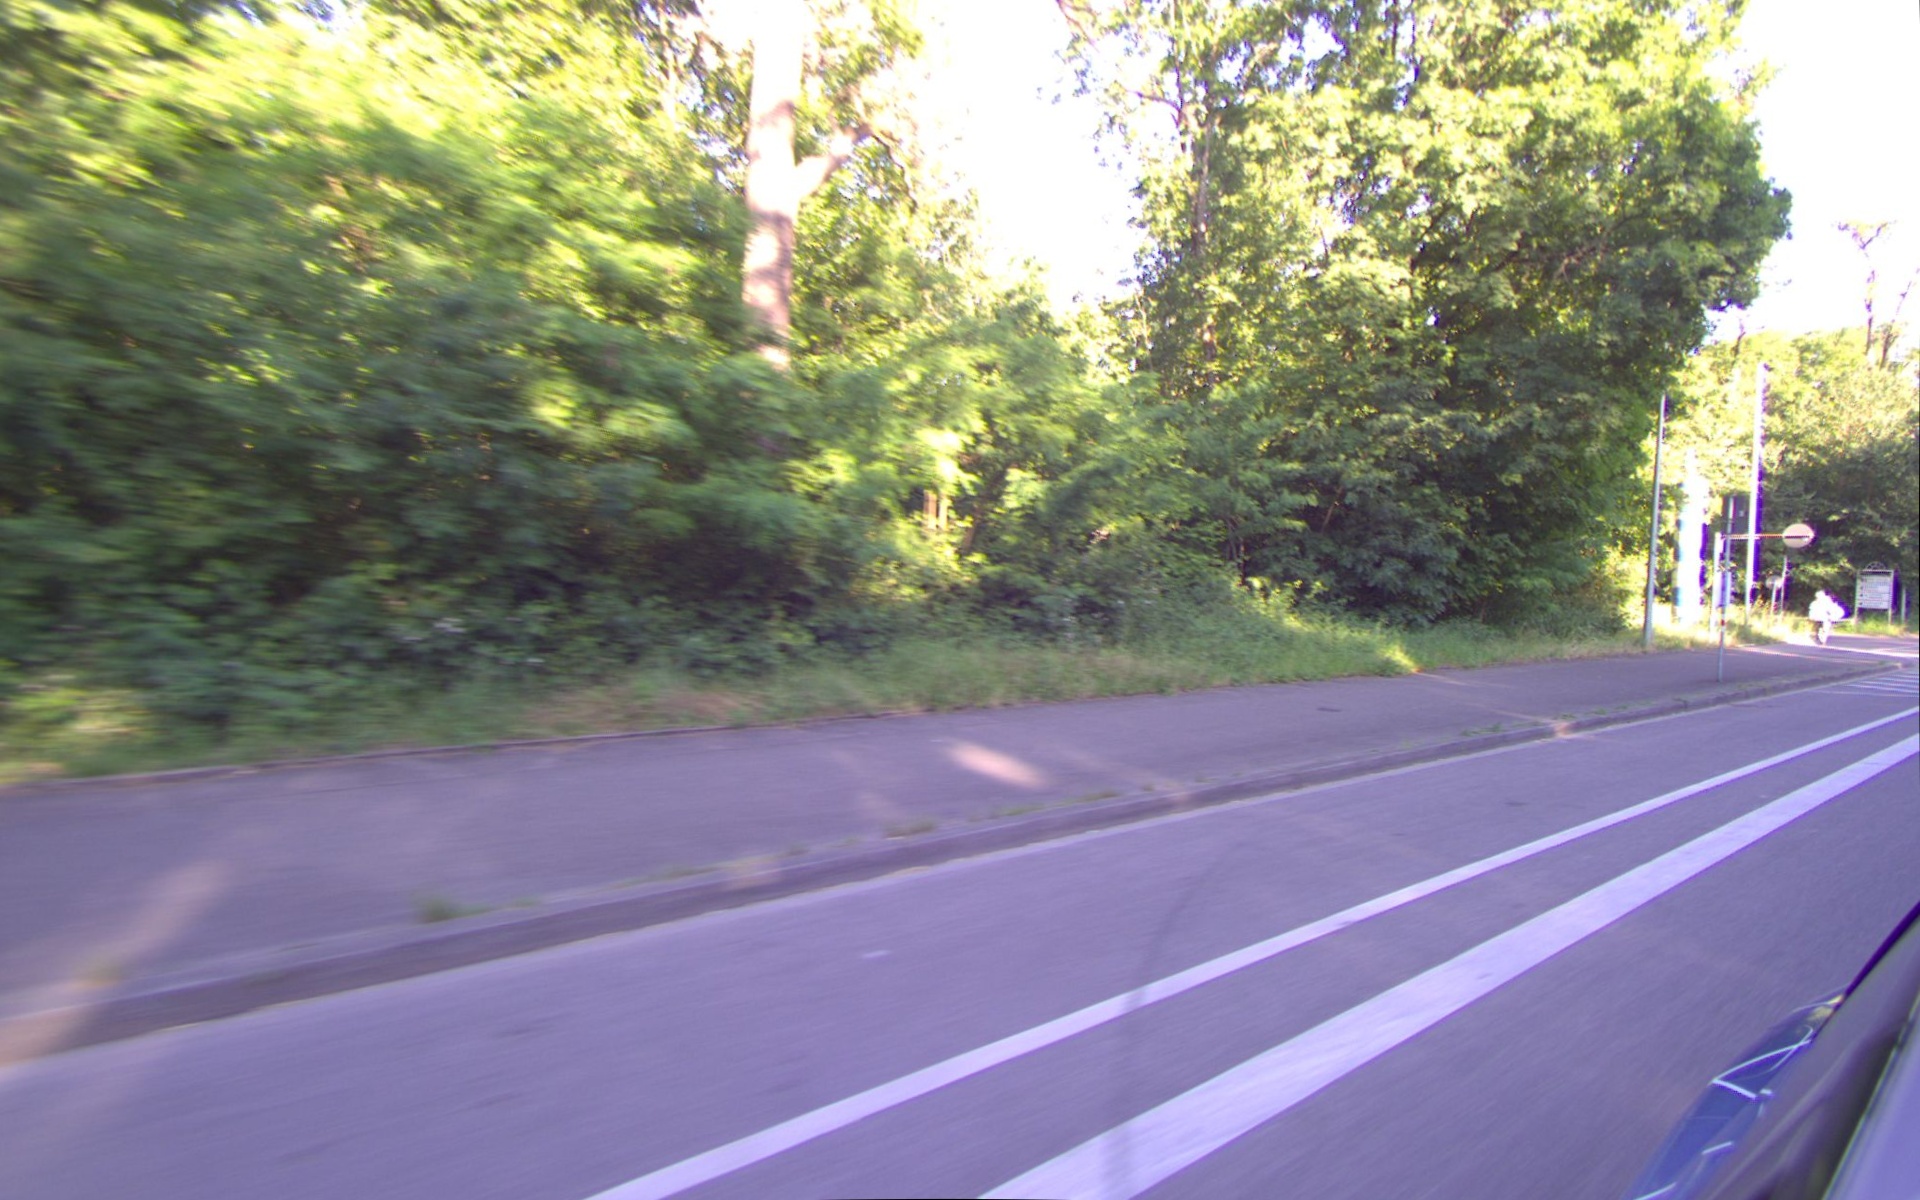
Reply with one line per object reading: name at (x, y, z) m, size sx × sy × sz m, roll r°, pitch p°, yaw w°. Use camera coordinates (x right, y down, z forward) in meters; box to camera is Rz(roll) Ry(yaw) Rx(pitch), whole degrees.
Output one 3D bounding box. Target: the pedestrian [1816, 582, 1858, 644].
pedestrian at (26.403, 0.373, 30.465) m, size 0.721 × 1.821 × 0.809 m, roll 0°, pitch 2°, yaw -39°
